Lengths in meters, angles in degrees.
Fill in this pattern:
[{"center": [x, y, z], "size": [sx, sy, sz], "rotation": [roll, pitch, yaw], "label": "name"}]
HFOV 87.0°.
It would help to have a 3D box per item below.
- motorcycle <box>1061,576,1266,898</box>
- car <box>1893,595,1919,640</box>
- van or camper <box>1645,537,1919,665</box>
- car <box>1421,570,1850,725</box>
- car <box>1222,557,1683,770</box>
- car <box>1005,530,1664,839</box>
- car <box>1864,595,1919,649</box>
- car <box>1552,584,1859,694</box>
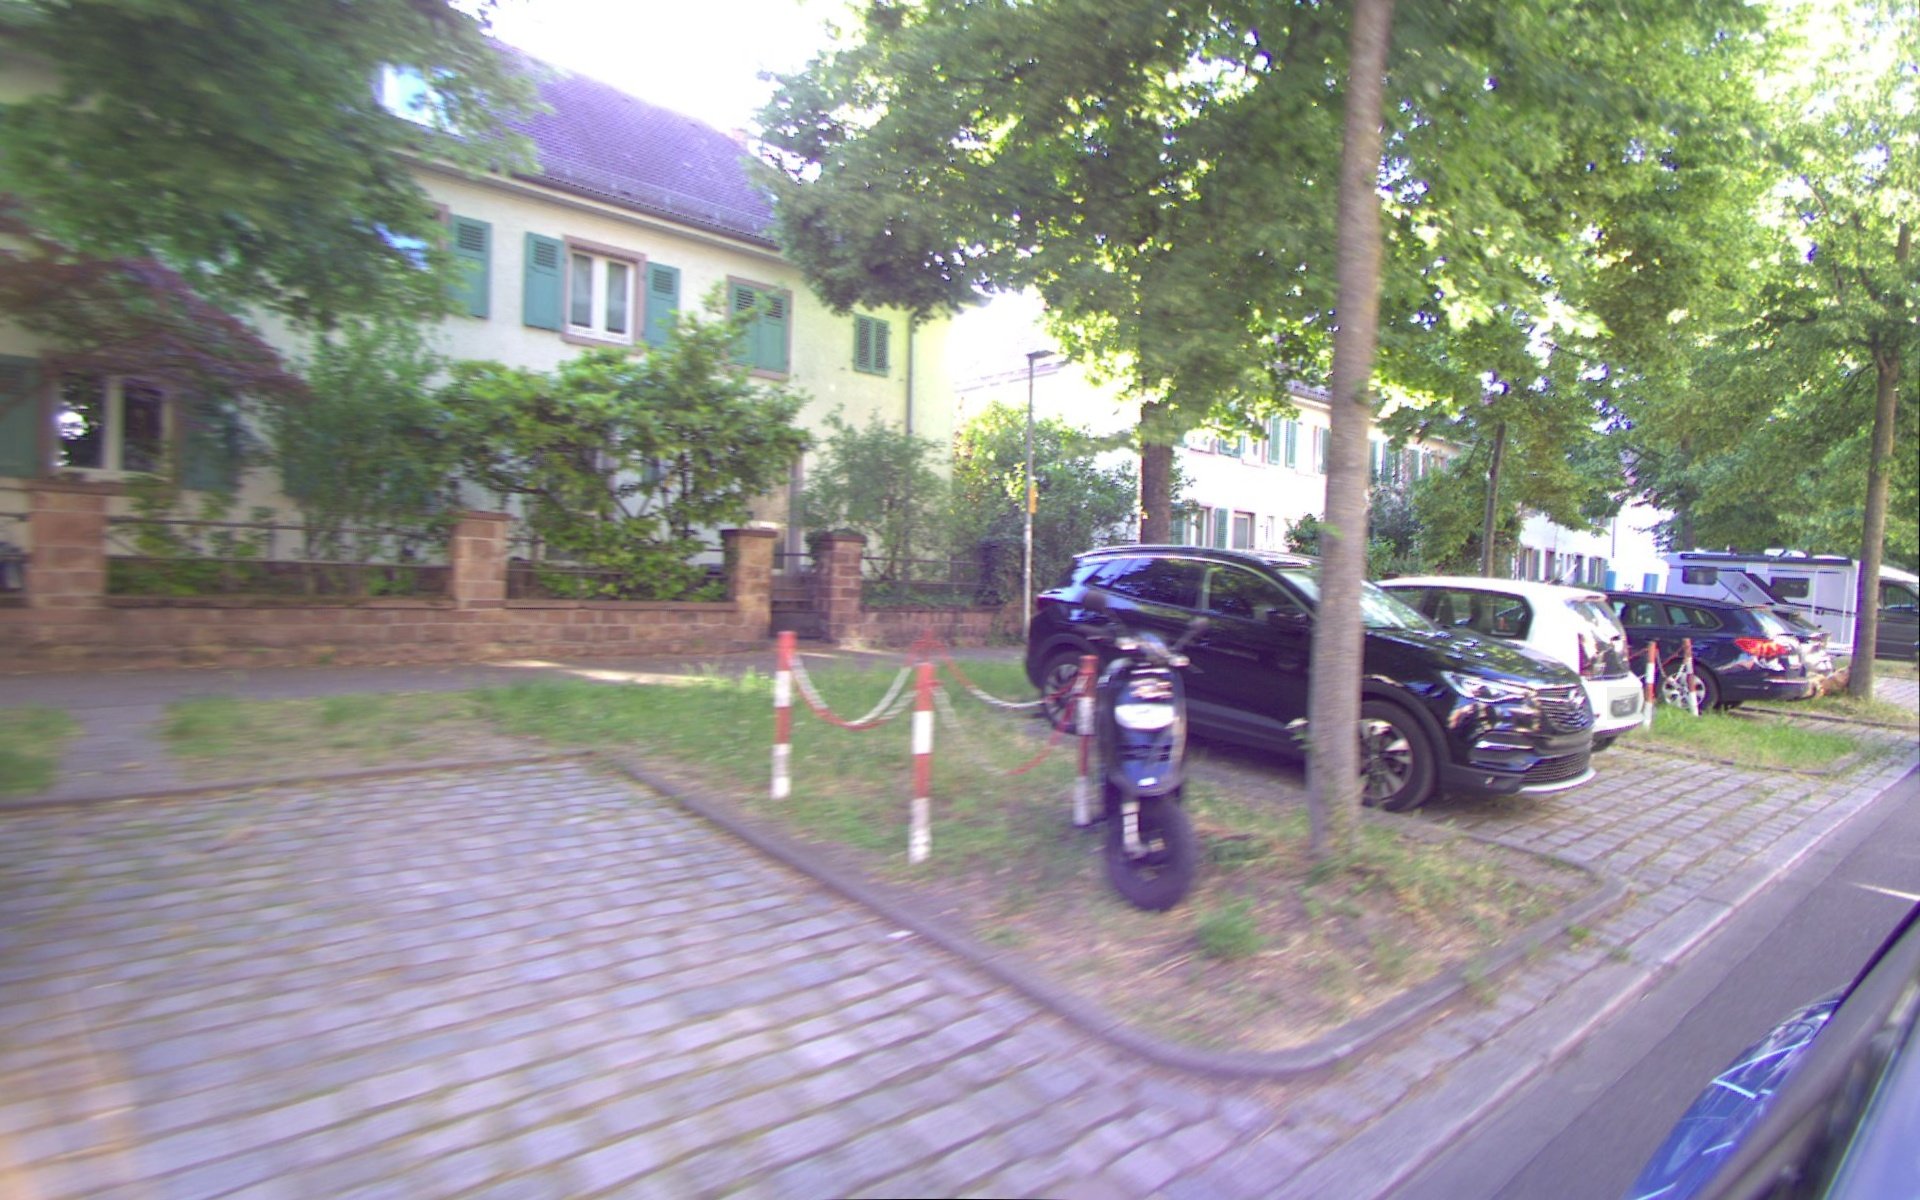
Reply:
[{"center": [0.872, 0.507, 4.807], "size": [0.725, 1.212, 1.774], "rotation": [2, 1, 5], "label": "motorcycle"}, {"center": [42.568, 0.816, 42.925], "size": [1.960, 1.905, 4.004], "rotation": [1, 2, -31], "label": "car"}, {"center": [21.826, -0.076, 25.386], "size": [2.385, 2.939, 7.264], "rotation": [-1, 3, -40], "label": "van or camper"}, {"center": [8.902, 0.495, 13.725], "size": [1.721, 1.495, 4.471], "rotation": [1, 4, -39], "label": "car"}, {"center": [4.432, 0.428, 9.485], "size": [1.663, 1.493, 3.456], "rotation": [1, 3, -40], "label": "car"}, {"center": [2.554, 0.350, 7.809], "size": [1.895, 1.627, 4.342], "rotation": [0, 4, -41], "label": "car"}, {"center": [34.612, 0.821, 35.532], "size": [1.964, 1.837, 3.996], "rotation": [1, 2, -40], "label": "car"}, {"center": [12.821, 0.567, 17.571], "size": [1.967, 1.537, 3.992], "rotation": [0, 3, -43], "label": "car"}]
